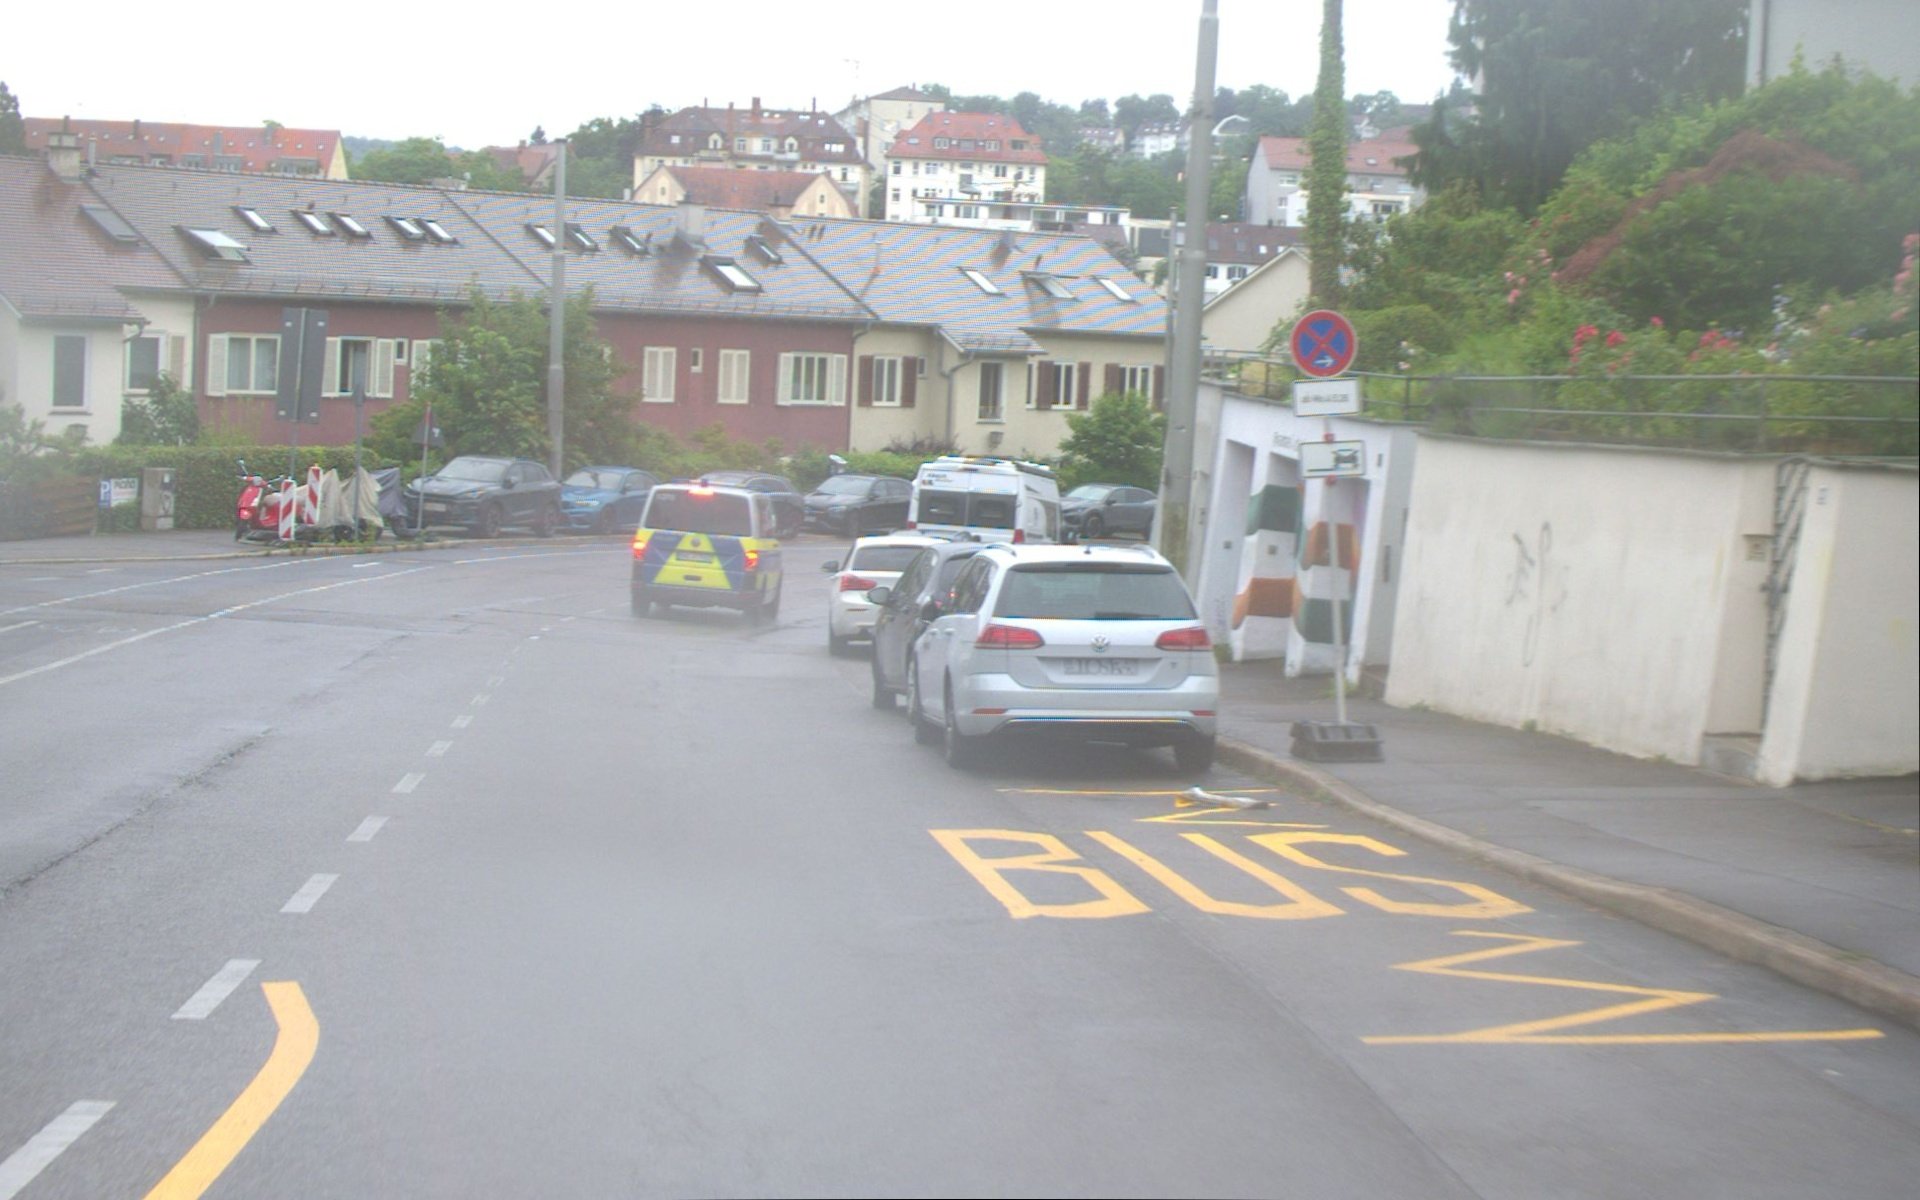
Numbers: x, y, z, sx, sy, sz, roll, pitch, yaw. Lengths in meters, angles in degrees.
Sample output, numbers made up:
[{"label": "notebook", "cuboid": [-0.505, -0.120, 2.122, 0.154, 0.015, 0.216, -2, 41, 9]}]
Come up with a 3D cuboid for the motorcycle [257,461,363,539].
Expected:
[{"label": "motorcycle", "cuboid": [-11.913, -1.844, 63.038, 1.803, 1.274, 0.511, 5, 4, 17]}]

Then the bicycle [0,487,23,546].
[{"label": "bicycle", "cuboid": [-17.456, -1.499, 61.938, 1.302, 1.031, 0.304, 0, -2, 34]}]

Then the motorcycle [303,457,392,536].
[{"label": "motorcycle", "cuboid": [-11.416, -1.932, 64.034, 0.612, 1.298, 1.807, 2, 5, -45]}]

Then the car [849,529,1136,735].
[{"label": "car", "cuboid": [0.188, 0.210, 28.392, 1.713, 1.508, 4.001, 2, 1, -9]}]

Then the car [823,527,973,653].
[{"label": "car", "cuboid": [-0.798, -0.161, 42.387, 1.705, 1.409, 4.042, 2, 1, -2]}]

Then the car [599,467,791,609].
[{"label": "car", "cuboid": [-3.804, -0.906, 50.156, 2.308, 1.933, 4.325, 2, 1, 2]}]

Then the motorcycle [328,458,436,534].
[{"label": "motorcycle", "cuboid": [-11.006, -1.975, 65.456, 1.900, 1.266, 0.576, 4, 4, -14]}]

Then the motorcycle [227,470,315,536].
[{"label": "motorcycle", "cuboid": [-12.288, -1.742, 61.383, 0.510, 1.136, 1.920, 3, 3, 23]}]

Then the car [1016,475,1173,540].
[{"label": "car", "cuboid": [3.710, -2.520, 93.849, 1.813, 1.471, 4.512, 8, 4, 39]}]

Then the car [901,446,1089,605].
[{"label": "car", "cuboid": [0.683, -1.294, 59.921, 2.100, 2.533, 5.617, 3, 2, 12]}]

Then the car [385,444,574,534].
[{"label": "car", "cuboid": [-9.665, -2.260, 69.444, 1.923, 1.571, 4.384, 7, 4, 18]}]

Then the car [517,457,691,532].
[{"label": "car", "cuboid": [-7.646, -2.295, 74.334, 1.701, 1.399, 4.468, 7, 5, 22]}]

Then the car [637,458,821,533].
[{"label": "car", "cuboid": [-5.292, -2.393, 79.235, 1.812, 1.471, 4.514, 7, 4, 32]}]

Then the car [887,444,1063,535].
[{"label": "car", "cuboid": [0.425, -2.844, 89.117, 1.852, 2.071, 5.010, 8, 4, 35]}]

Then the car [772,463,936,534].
[{"label": "car", "cuboid": [-2.568, -2.468, 84.123, 1.811, 1.471, 4.515, 7, 4, 29]}]

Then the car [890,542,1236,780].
[{"label": "car", "cuboid": [0.596, 0.341, 23.441, 1.781, 1.415, 4.431, 1, 1, -6]}]
